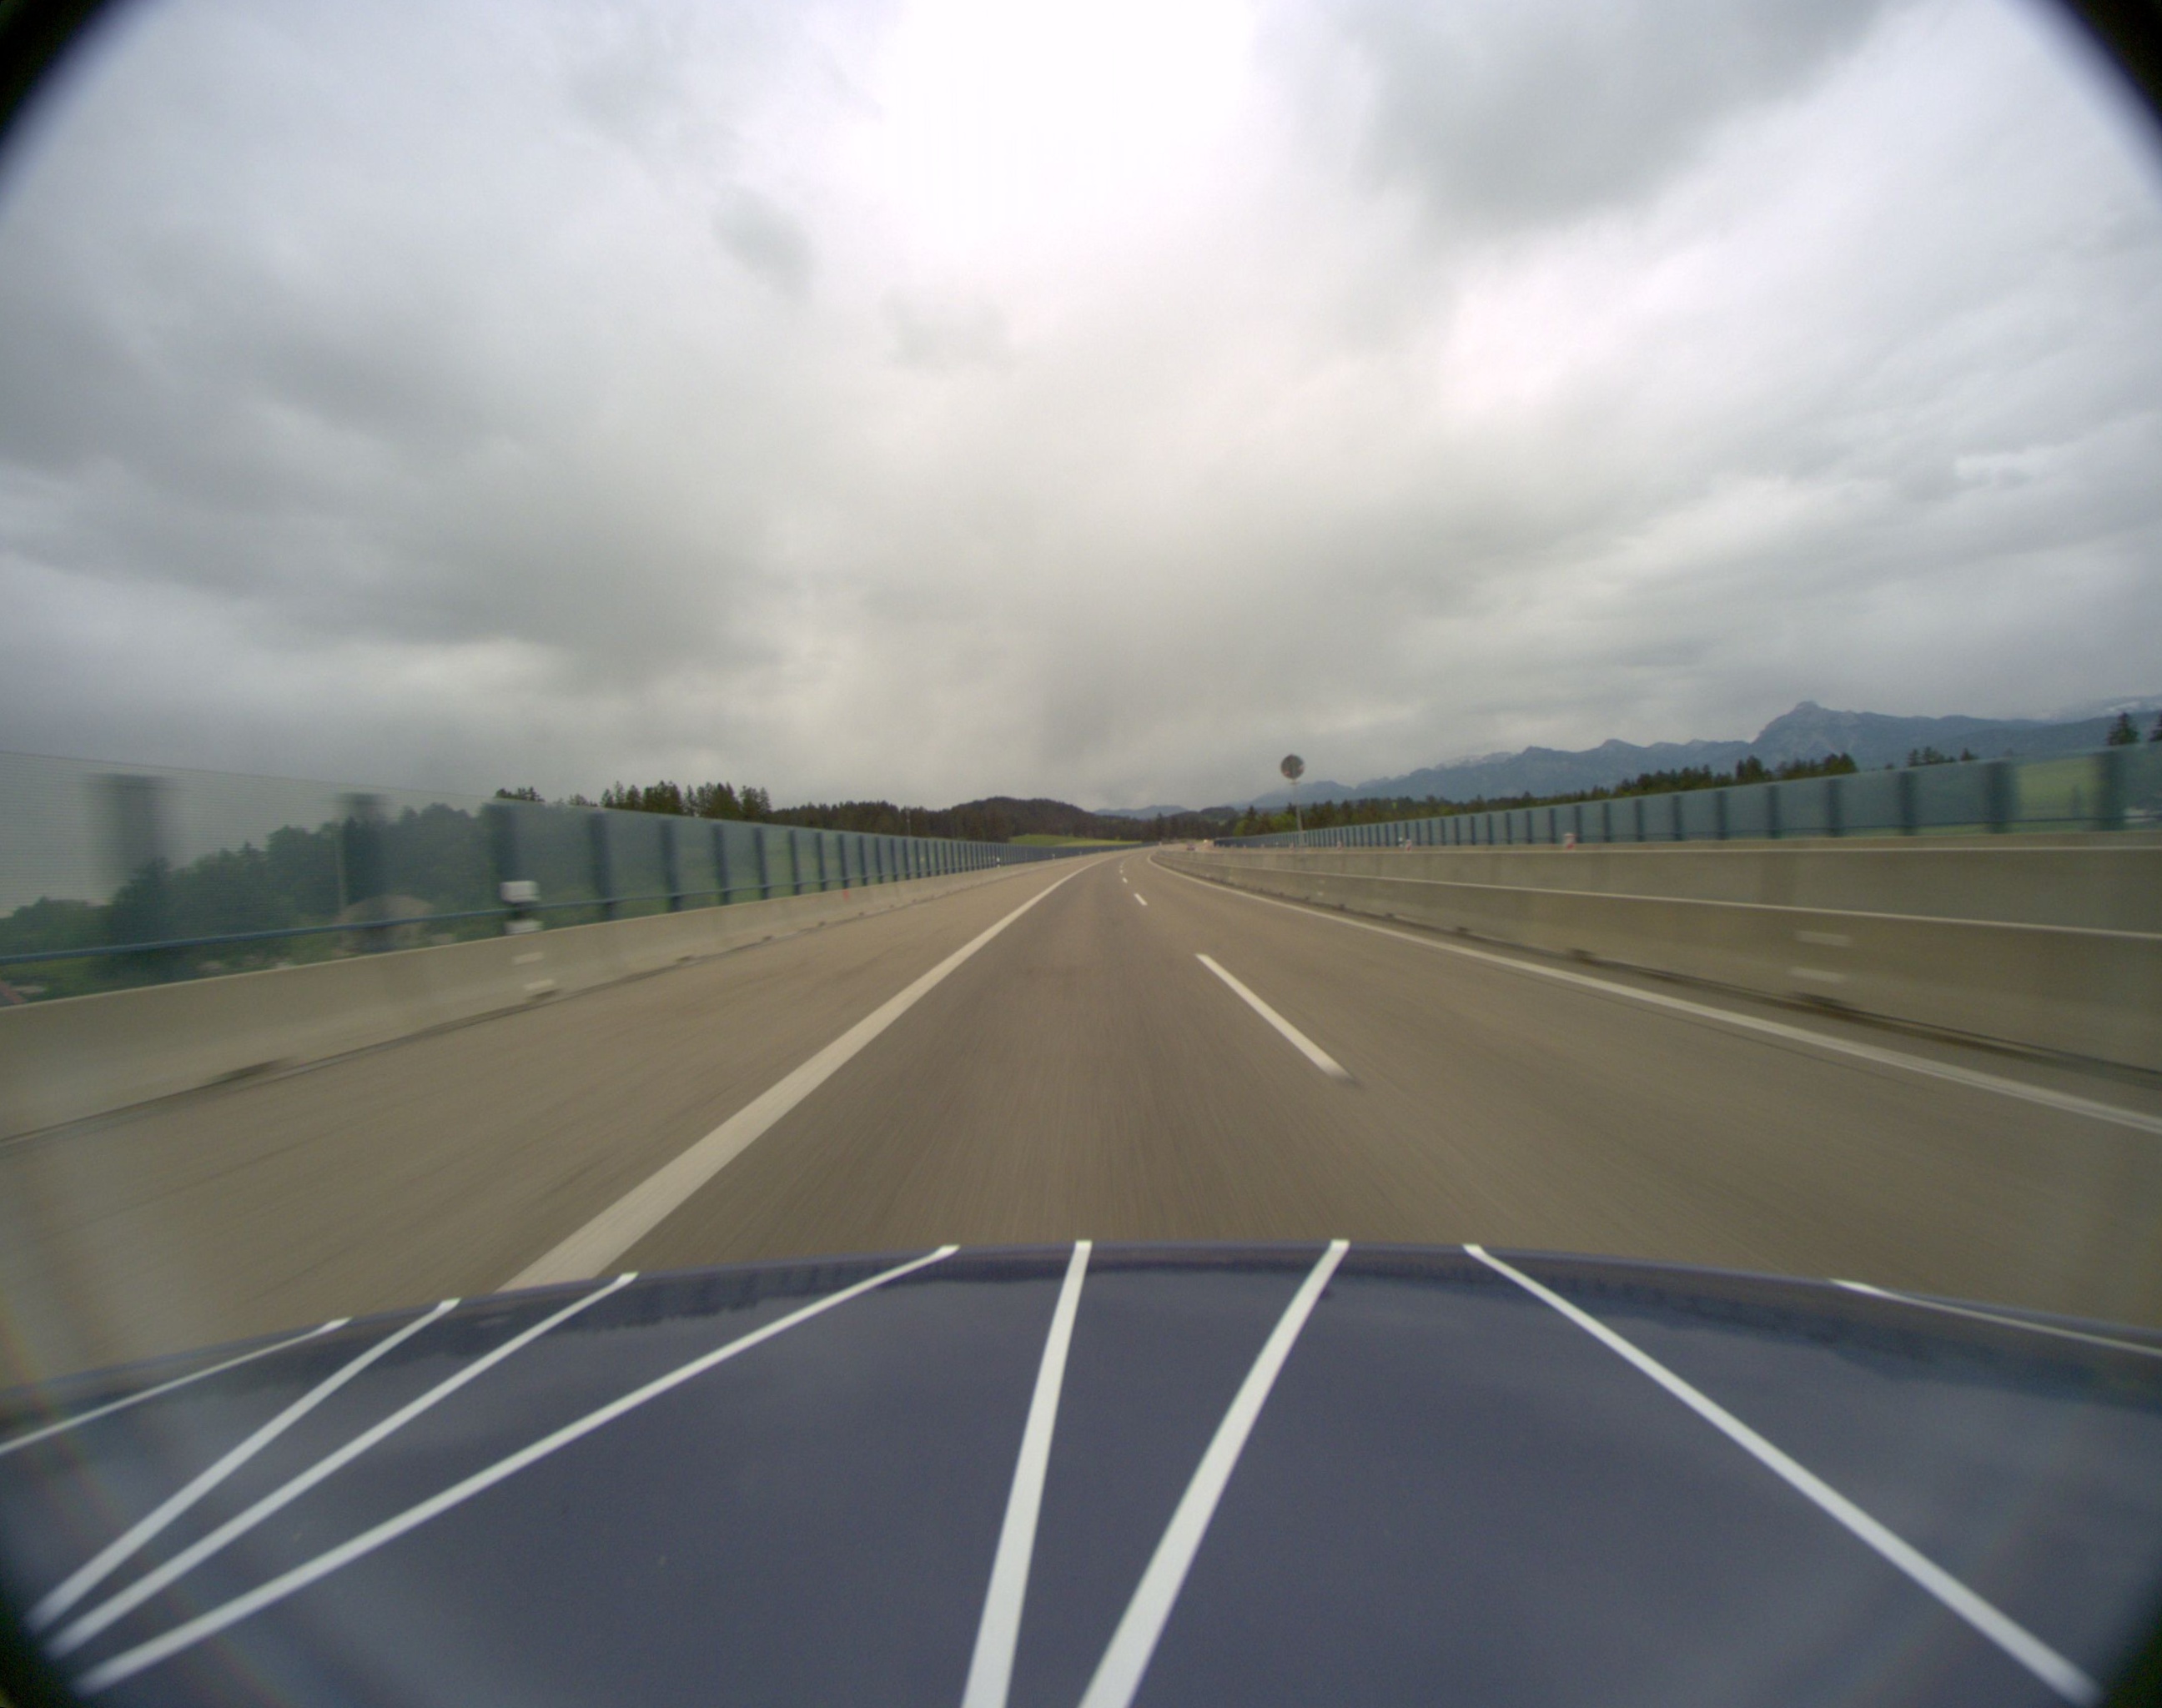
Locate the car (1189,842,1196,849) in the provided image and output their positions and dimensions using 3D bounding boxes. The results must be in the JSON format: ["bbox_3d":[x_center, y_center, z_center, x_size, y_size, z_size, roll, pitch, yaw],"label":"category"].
[{"bbox_3d":[30.749,-2.326,209.980,1.896,1.740,4.135,-2,1,8],"label":"car"}]
